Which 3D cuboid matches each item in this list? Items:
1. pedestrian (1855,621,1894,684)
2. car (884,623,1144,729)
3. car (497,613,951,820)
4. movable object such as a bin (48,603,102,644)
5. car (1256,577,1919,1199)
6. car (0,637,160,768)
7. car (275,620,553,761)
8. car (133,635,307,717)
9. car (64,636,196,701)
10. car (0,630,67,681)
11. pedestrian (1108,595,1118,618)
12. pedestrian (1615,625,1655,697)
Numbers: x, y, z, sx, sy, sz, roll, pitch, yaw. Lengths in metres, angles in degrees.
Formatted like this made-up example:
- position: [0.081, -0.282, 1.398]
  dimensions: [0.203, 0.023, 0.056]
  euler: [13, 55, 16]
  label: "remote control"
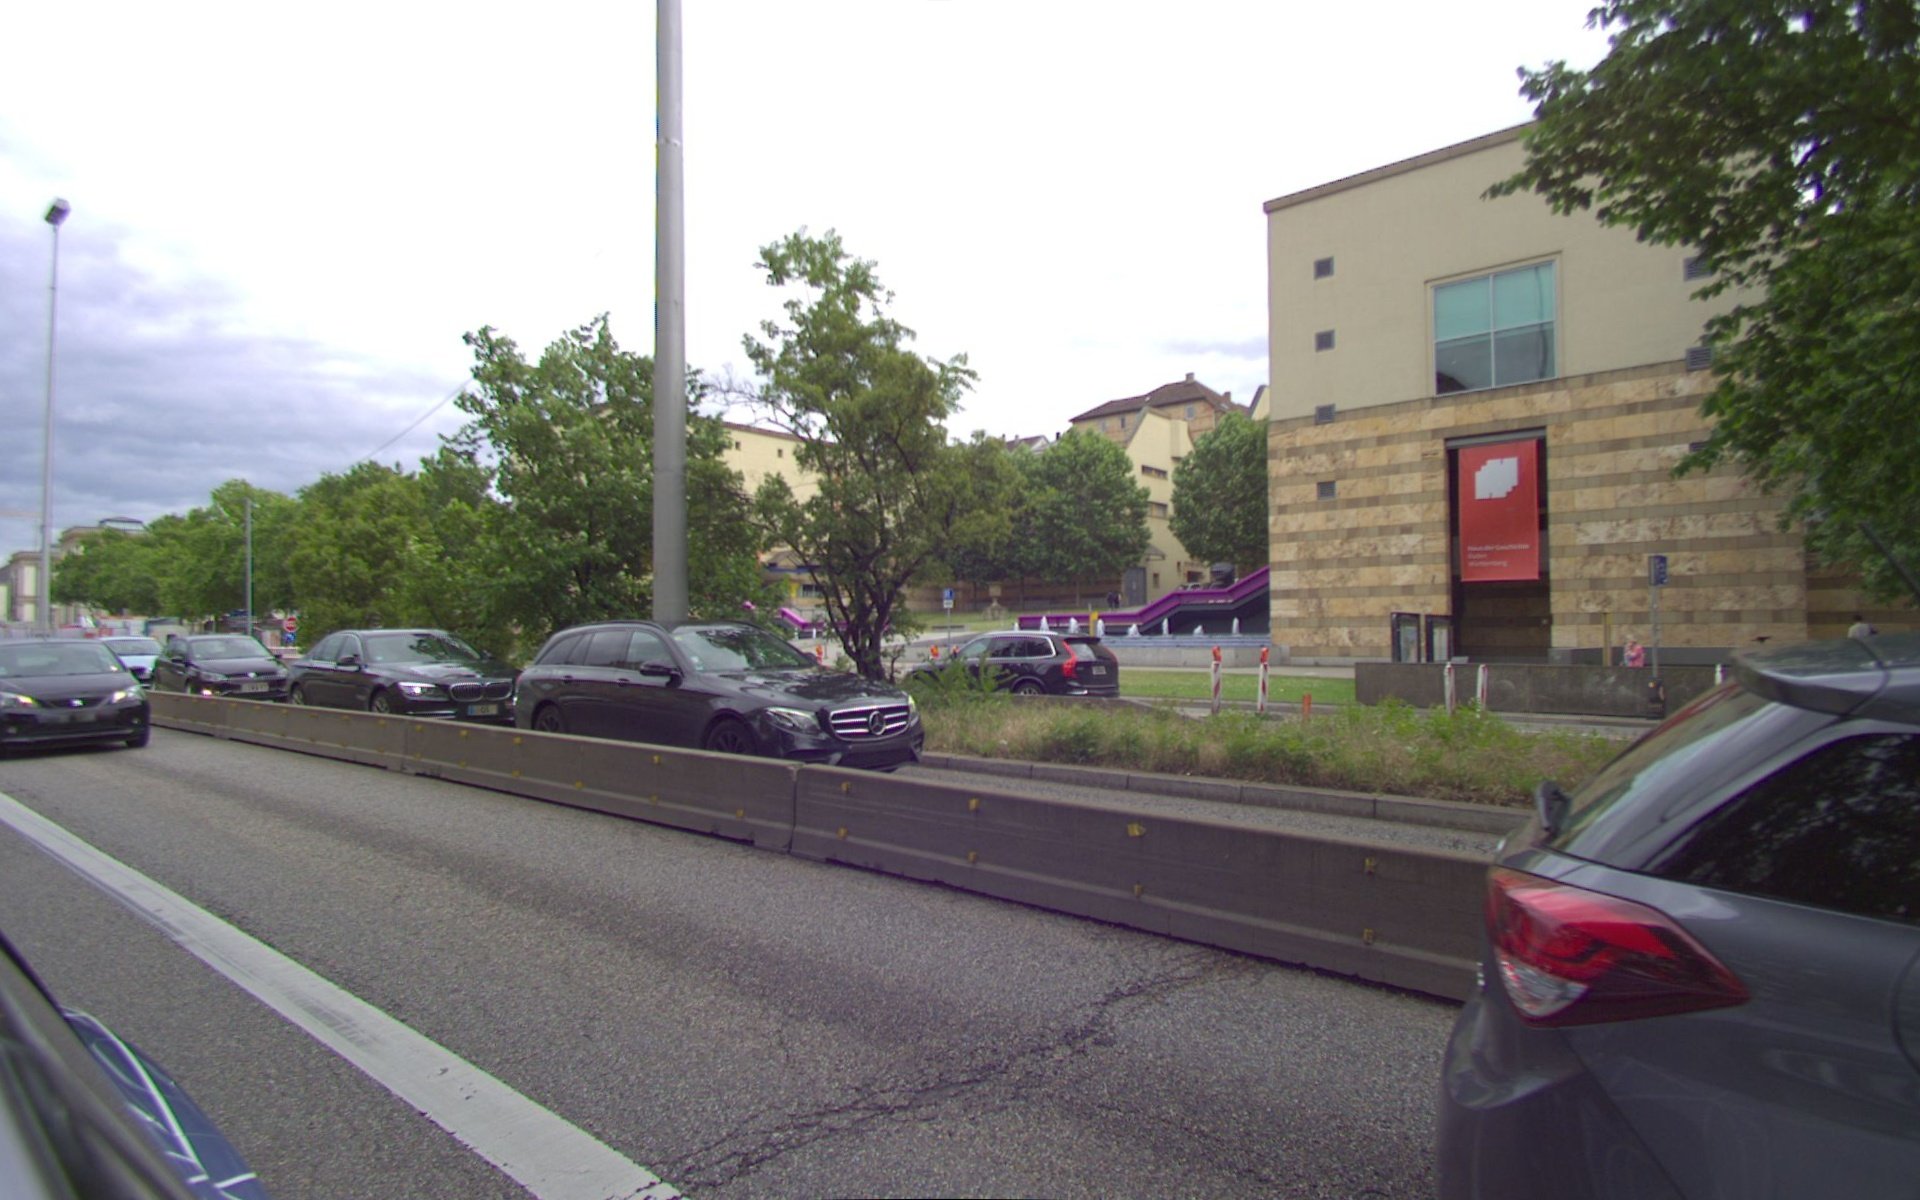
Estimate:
- position: [23.525, 1.347, 26.044]
  dimensions: [0.620, 1.581, 0.434]
  euler: [-2, -3, 33]
  label: "pedestrian"
- position: [0.975, 1.473, 20.657]
  dimensions: [5.109, 1.890, 2.170]
  euler: [-3, -3, 43]
  label: "car"
- position: [-2.456, 0.942, 9.695]
  dimensions: [4.766, 1.511, 1.797]
  euler: [-2, -3, 41]
  label: "car"
- position: [-48.975, 1.305, 55.989]
  dimensions: [3.286, 2.202, 1.508]
  euler: [-2, -3, 36]
  label: "movable object such as a bin"
- position: [2.578, 0.672, 0.982]
  dimensions: [4.016, 1.448, 1.780]
  euler: [-2, -2, 40]
  label: "car"
- position: [-11.987, 1.248, 13.272]
  dimensions: [3.618, 1.484, 1.592]
  euler: [-2, -2, 39]
  label: "car"
- position: [-7.858, 1.150, 14.327]
  dimensions: [4.934, 1.648, 1.903]
  euler: [-2, -2, 42]
  label: "car"
- position: [-14.902, 1.454, 20.311]
  dimensions: [4.190, 1.465, 1.644]
  euler: [-2, -2, 36]
  label: "car"
- position: [-21.376, 1.720, 26.031]
  dimensions: [3.845, 1.518, 1.658]
  euler: [-2, -2, 35]
  label: "car"
- position: [-30.028, 1.710, 31.627]
  dimensions: [4.687, 1.492, 1.865]
  euler: [-2, -1, 31]
  label: "car"
- position: [12.203, 0.517, 80.723]
  dimensions: [0.477, 1.762, 0.639]
  euler: [-2, -2, 39]
  label: "pedestrian"
- position: [14.806, 1.327, 22.198]
  dimensions: [0.522, 1.543, 0.559]
  euler: [-1, -2, 16]
  label: "pedestrian"
